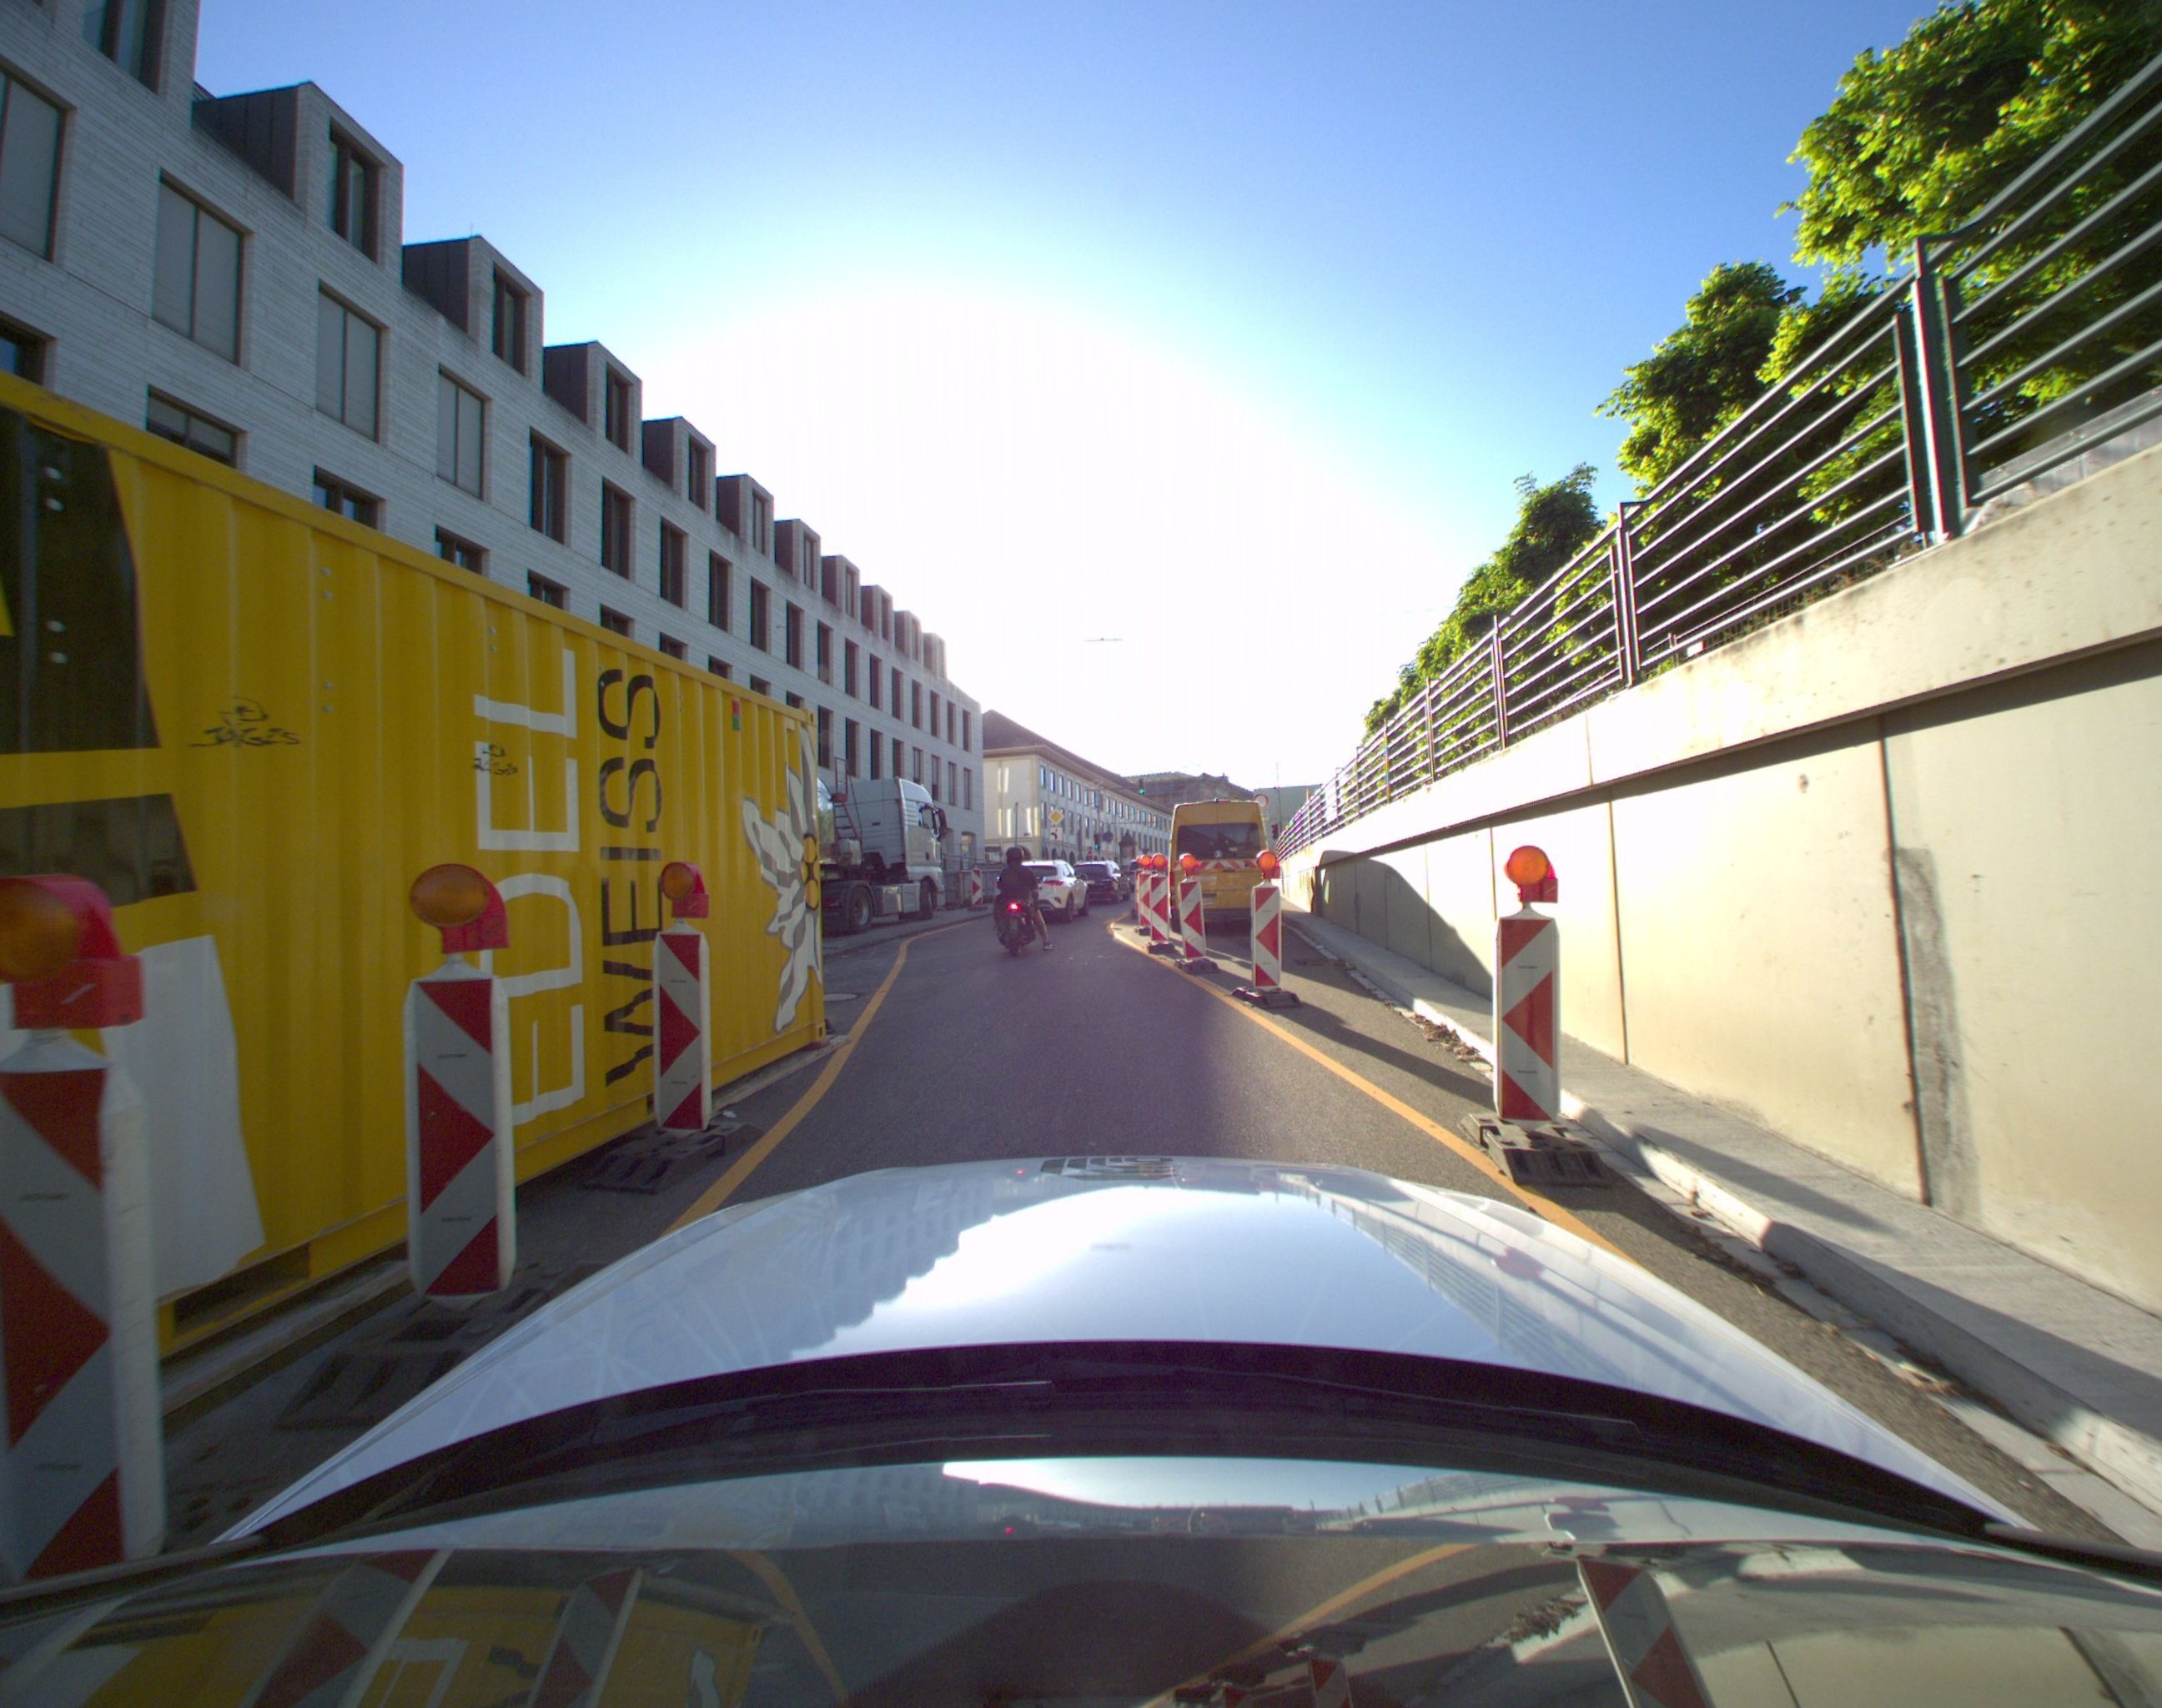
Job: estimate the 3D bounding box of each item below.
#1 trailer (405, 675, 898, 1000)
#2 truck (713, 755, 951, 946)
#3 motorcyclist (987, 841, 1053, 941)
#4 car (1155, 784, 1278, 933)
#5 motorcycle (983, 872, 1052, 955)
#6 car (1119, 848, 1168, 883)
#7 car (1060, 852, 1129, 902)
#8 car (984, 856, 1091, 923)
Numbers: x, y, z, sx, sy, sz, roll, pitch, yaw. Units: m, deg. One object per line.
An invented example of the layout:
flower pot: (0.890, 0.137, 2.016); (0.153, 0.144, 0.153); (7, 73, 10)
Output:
trailer: (-6.226, -0.140, 14.172); (2.627, 3.669, 8.769); (-6, -1, 8)
truck: (-5.360, -0.040, 18.778); (2.563, 3.489, 5.832); (-6, -1, 10)
motorcyclist: (-0.985, 0.595, 13.505); (0.951, 1.559, 1.239); (-1, 0, 0)
car: (3.044, 0.124, 18.183); (2.099, 2.625, 7.006); (-2, -1, 10)
motorcycle: (-0.999, 0.930, 13.592); (0.903, 1.183, 2.578); (-1, 0, 0)
car: (3.323, 0.574, 42.637); (1.790, 1.721, 4.180); (-2, 0, 15)
car: (0.541, 0.836, 28.490); (1.763, 1.550, 4.116); (-2, -3, 9)
car: (-0.956, 0.805, 20.248); (1.848, 1.472, 4.010); (-1, 0, 9)
